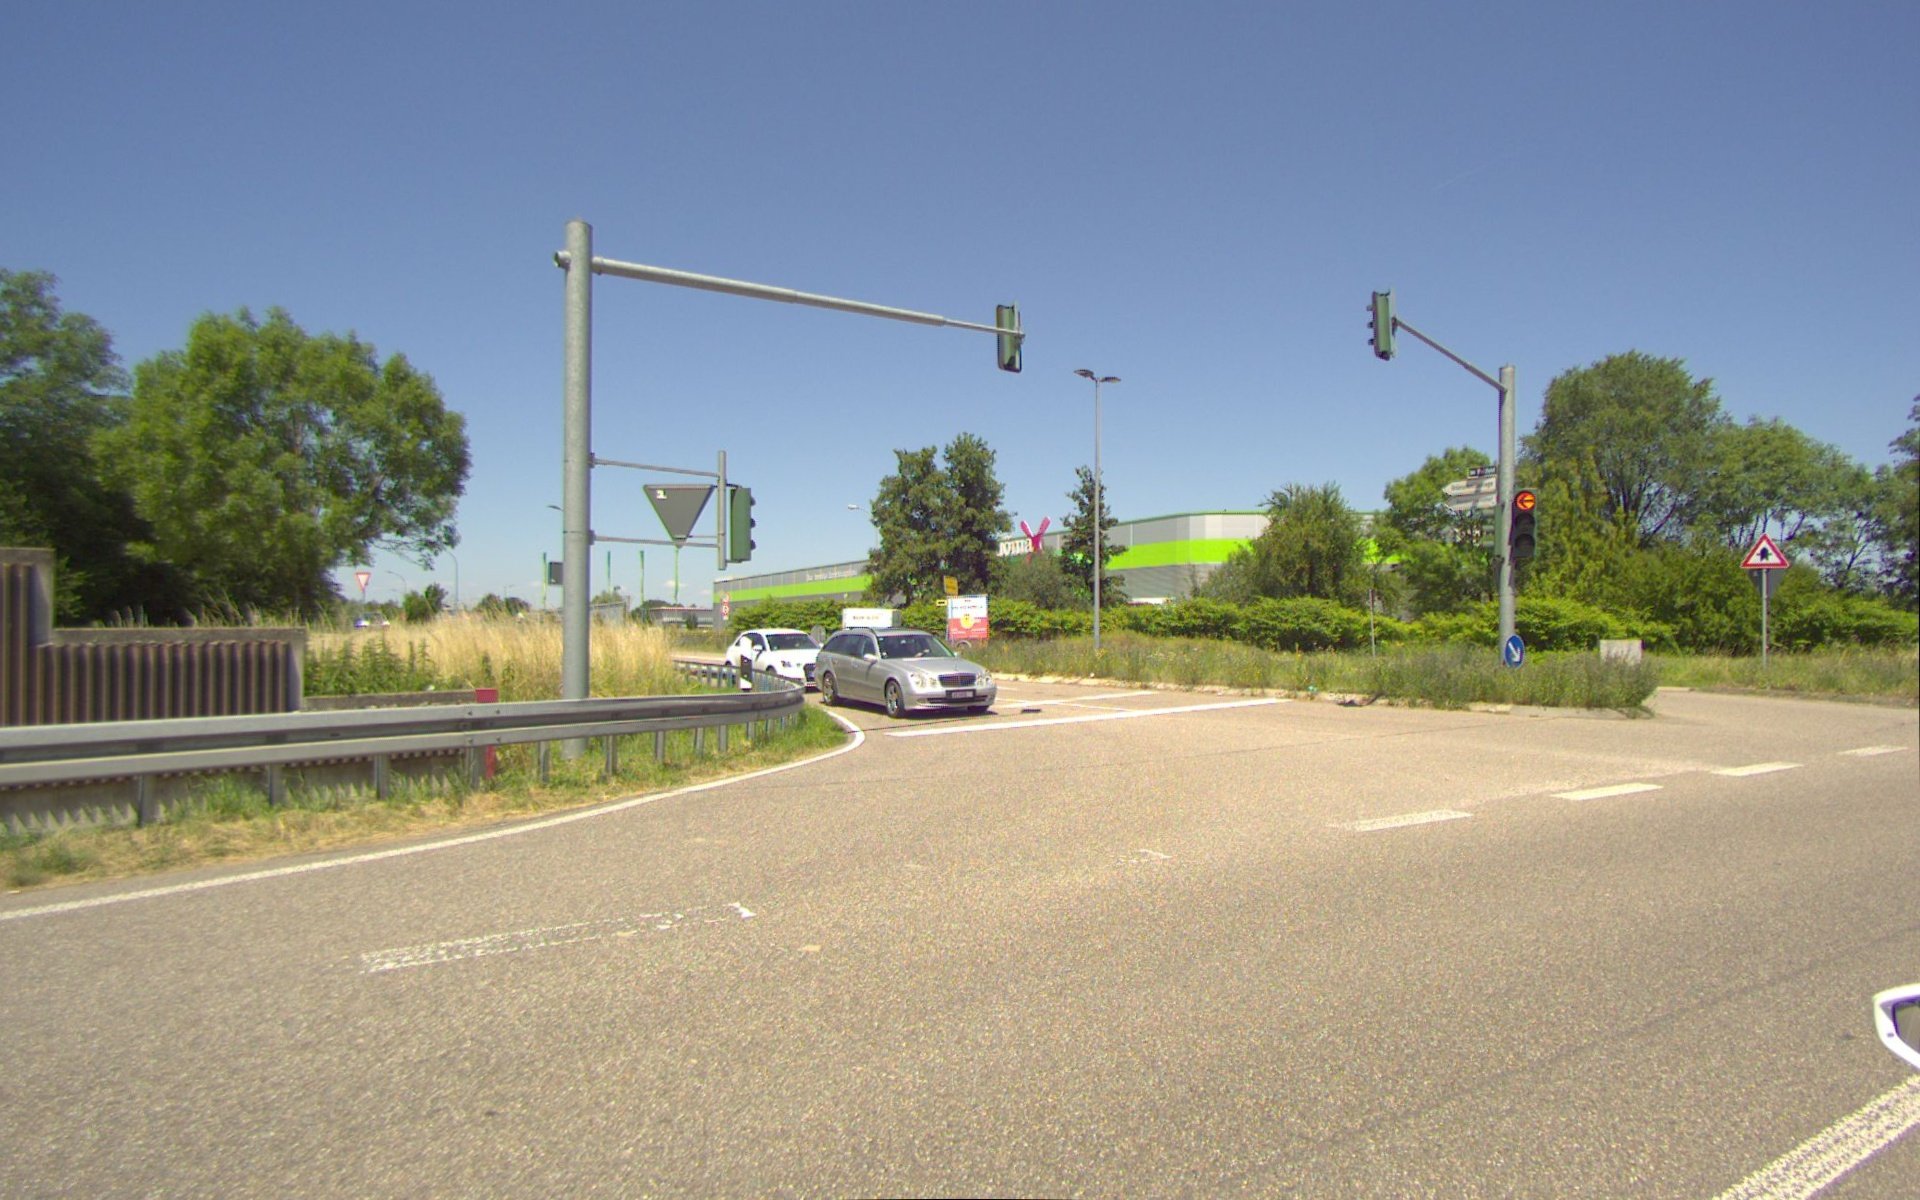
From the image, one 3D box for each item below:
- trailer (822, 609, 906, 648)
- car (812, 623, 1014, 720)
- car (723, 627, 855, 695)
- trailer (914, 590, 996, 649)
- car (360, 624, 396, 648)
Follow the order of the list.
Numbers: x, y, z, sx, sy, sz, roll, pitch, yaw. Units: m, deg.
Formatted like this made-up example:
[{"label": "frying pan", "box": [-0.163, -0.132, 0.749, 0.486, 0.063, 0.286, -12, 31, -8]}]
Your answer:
[{"label": "trailer", "box": [-4.675, 1.392, 49.208, 3.682, 1.815, 1.828, 0, -1, 15]}, {"label": "car", "box": [-1.039, 1.200, 18.404, 1.853, 1.476, 4.936, 1, -1, -27]}, {"label": "car", "box": [-4.167, 1.382, 23.997, 1.752, 1.417, 3.928, 0, -1, -33]}, {"label": "trailer", "box": [-0.210, 0.948, 49.563, 3.682, 2.801, 1.828, 1, -1, 14]}, {"label": "car", "box": [-42.453, 2.579, 73.211, 1.755, 1.646, 4.189, 0, -1, -38]}]
